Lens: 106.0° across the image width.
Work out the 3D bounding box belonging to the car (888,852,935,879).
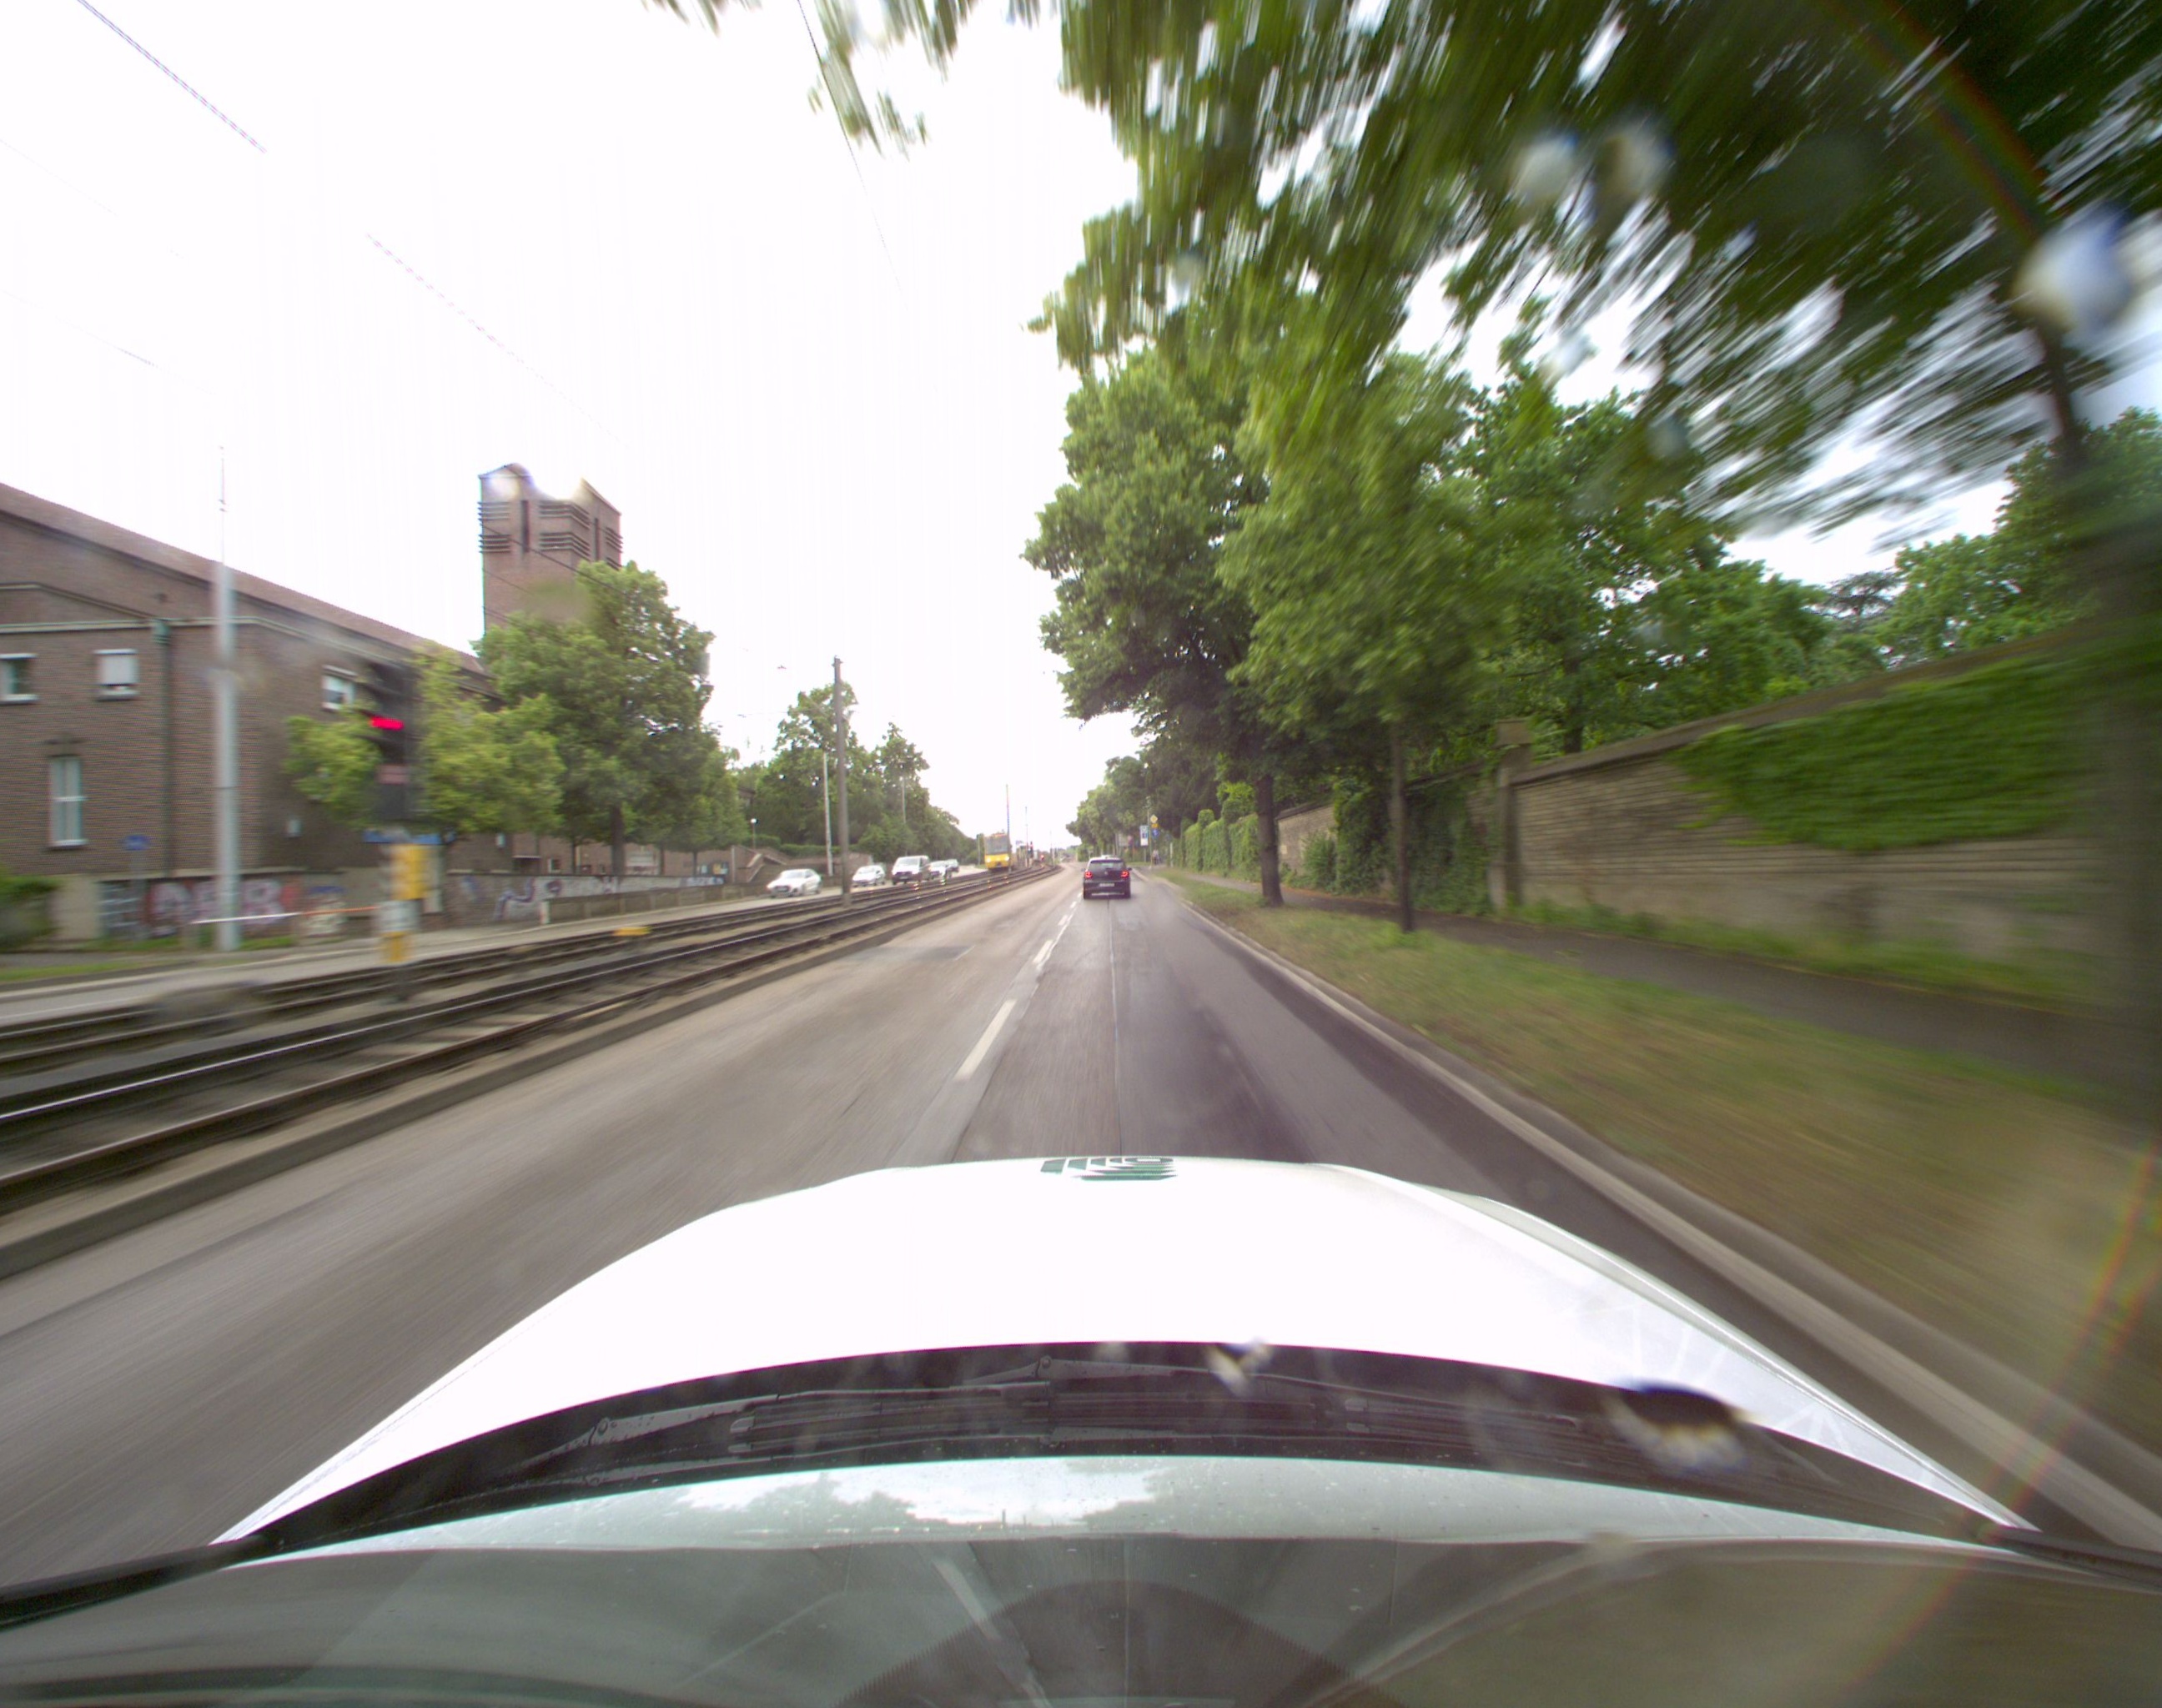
[{"bbox_3d":[-11.405,0.728,55.257,1.986,1.662,5.127,-1,0,1],"label":"car"}]

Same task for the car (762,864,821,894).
[{"bbox_3d":[-15.328,1.276,43.358,1.611,1.434,4.001,-1,0,1],"label":"car"}]

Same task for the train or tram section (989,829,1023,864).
[{"bbox_3d":[-8.140,-0.842,89.629,2.823,3.605,9.269,-1,0,0],"label":"train or tram section"}]

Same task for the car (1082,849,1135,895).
[{"bbox_3d":[0.936,0.591,29.444,1.788,1.485,3.964,-1,1,0],"label":"car"}]

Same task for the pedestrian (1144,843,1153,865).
[{"bbox_3d":[9.256,0.032,111.393,1.160,2.977,0.948,-1,0,0],"label":"pedestrian"}]

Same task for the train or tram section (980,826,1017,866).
[{"bbox_3d":[-8.042,-0.769,80.405,2.824,3.605,9.265,-1,0,-2],"label":"train or tram section"}]

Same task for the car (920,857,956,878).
[{"bbox_3d":[-11.506,1.060,65.839,1.986,1.576,4.536,-1,0,1],"label":"car"}]

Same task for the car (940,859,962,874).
[{"bbox_3d":[-14.864,1.390,93.408,1.727,1.662,4.001,-1,0,1],"label":"car"}]

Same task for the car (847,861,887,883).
[{"bbox_3d":[-15.190,1.265,58.061,1.722,1.443,4.001,-1,0,1],"label":"car"}]

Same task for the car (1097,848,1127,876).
[{"bbox_3d":[1.877,0.467,48.844,1.669,1.530,3.723,-3,0,2],"label":"car"}]
